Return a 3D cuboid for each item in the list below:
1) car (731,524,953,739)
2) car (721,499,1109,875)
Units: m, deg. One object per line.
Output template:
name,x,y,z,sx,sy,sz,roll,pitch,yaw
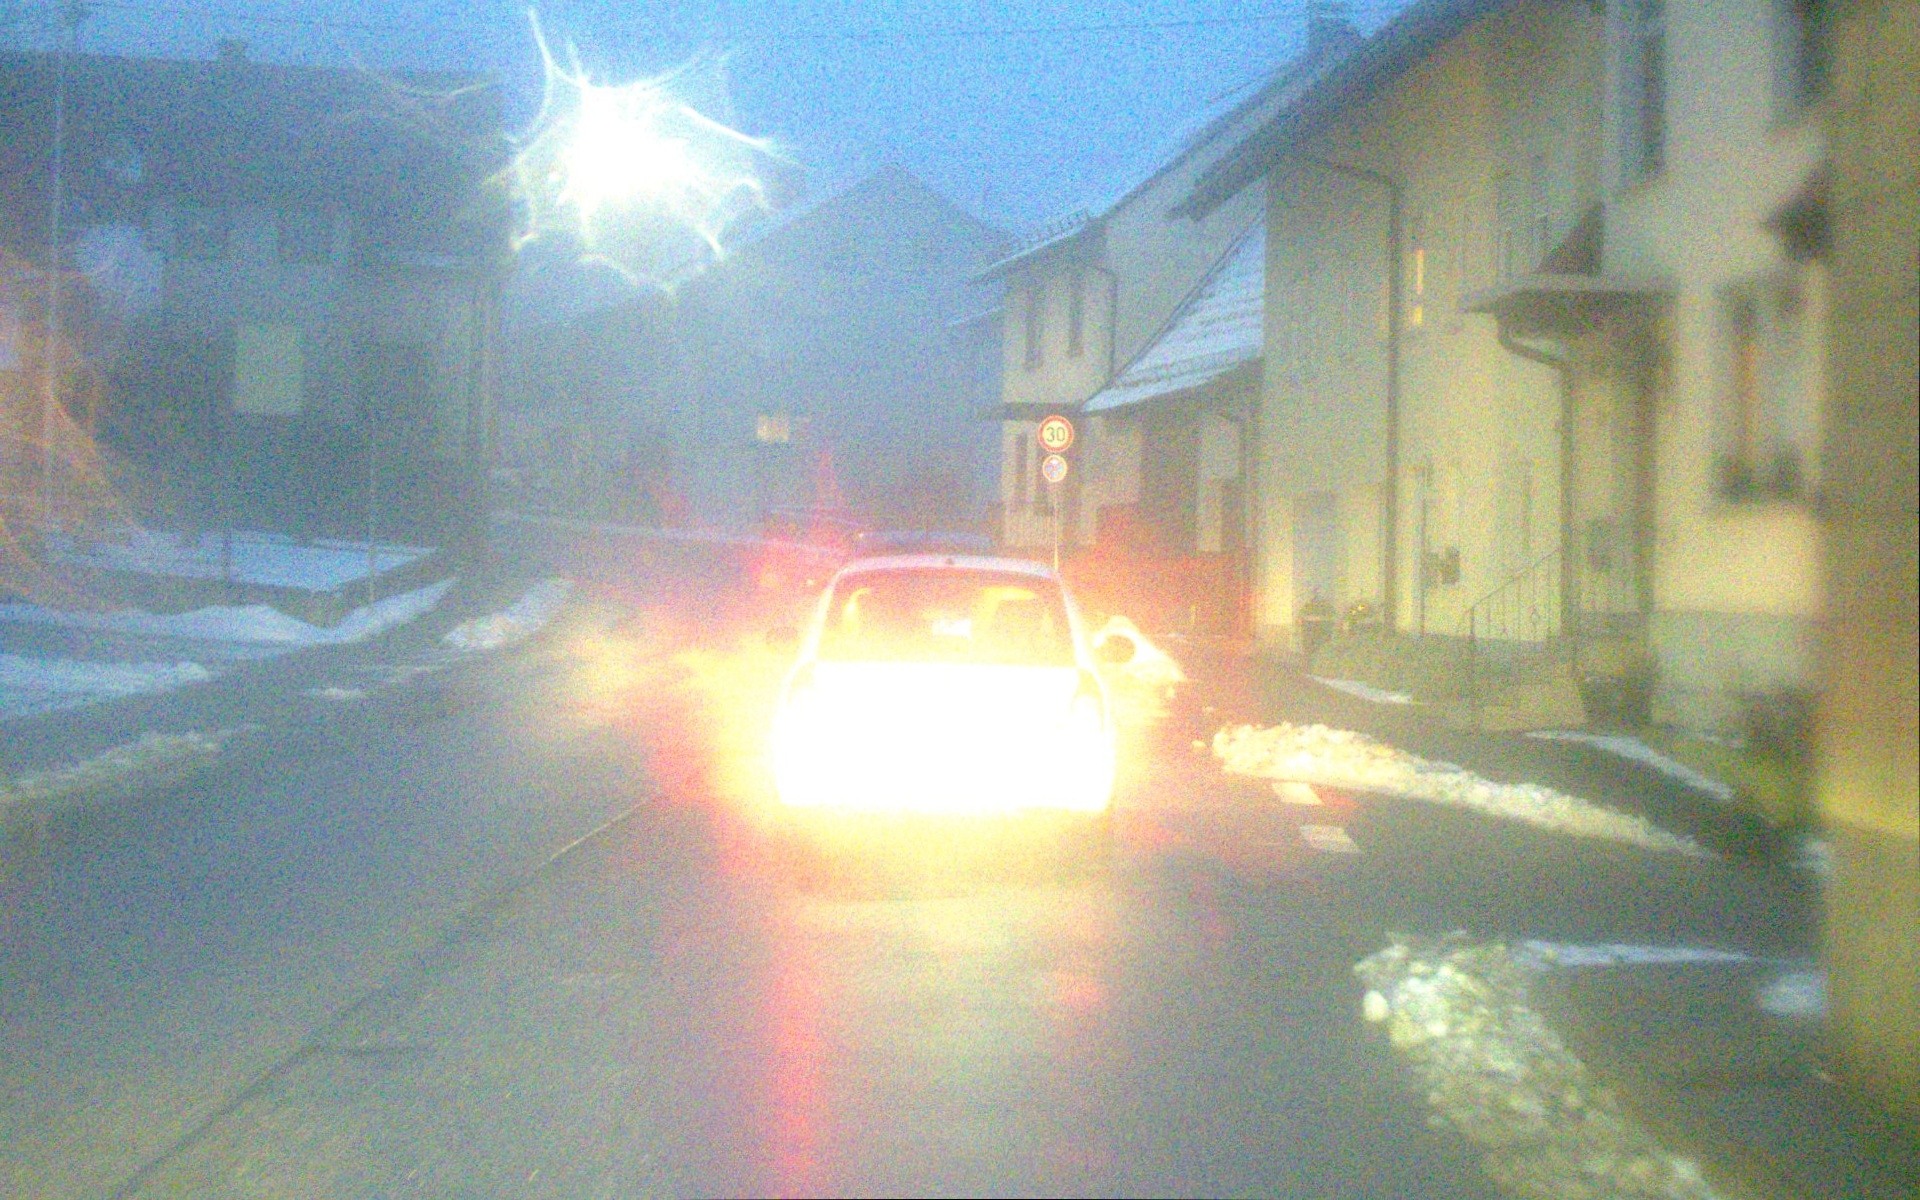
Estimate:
car,-1.012,0.229,28.471,1.645,1.590,3.700,3,0,-3
car,-0.225,0.374,17.060,1.645,1.590,3.700,3,0,-1
